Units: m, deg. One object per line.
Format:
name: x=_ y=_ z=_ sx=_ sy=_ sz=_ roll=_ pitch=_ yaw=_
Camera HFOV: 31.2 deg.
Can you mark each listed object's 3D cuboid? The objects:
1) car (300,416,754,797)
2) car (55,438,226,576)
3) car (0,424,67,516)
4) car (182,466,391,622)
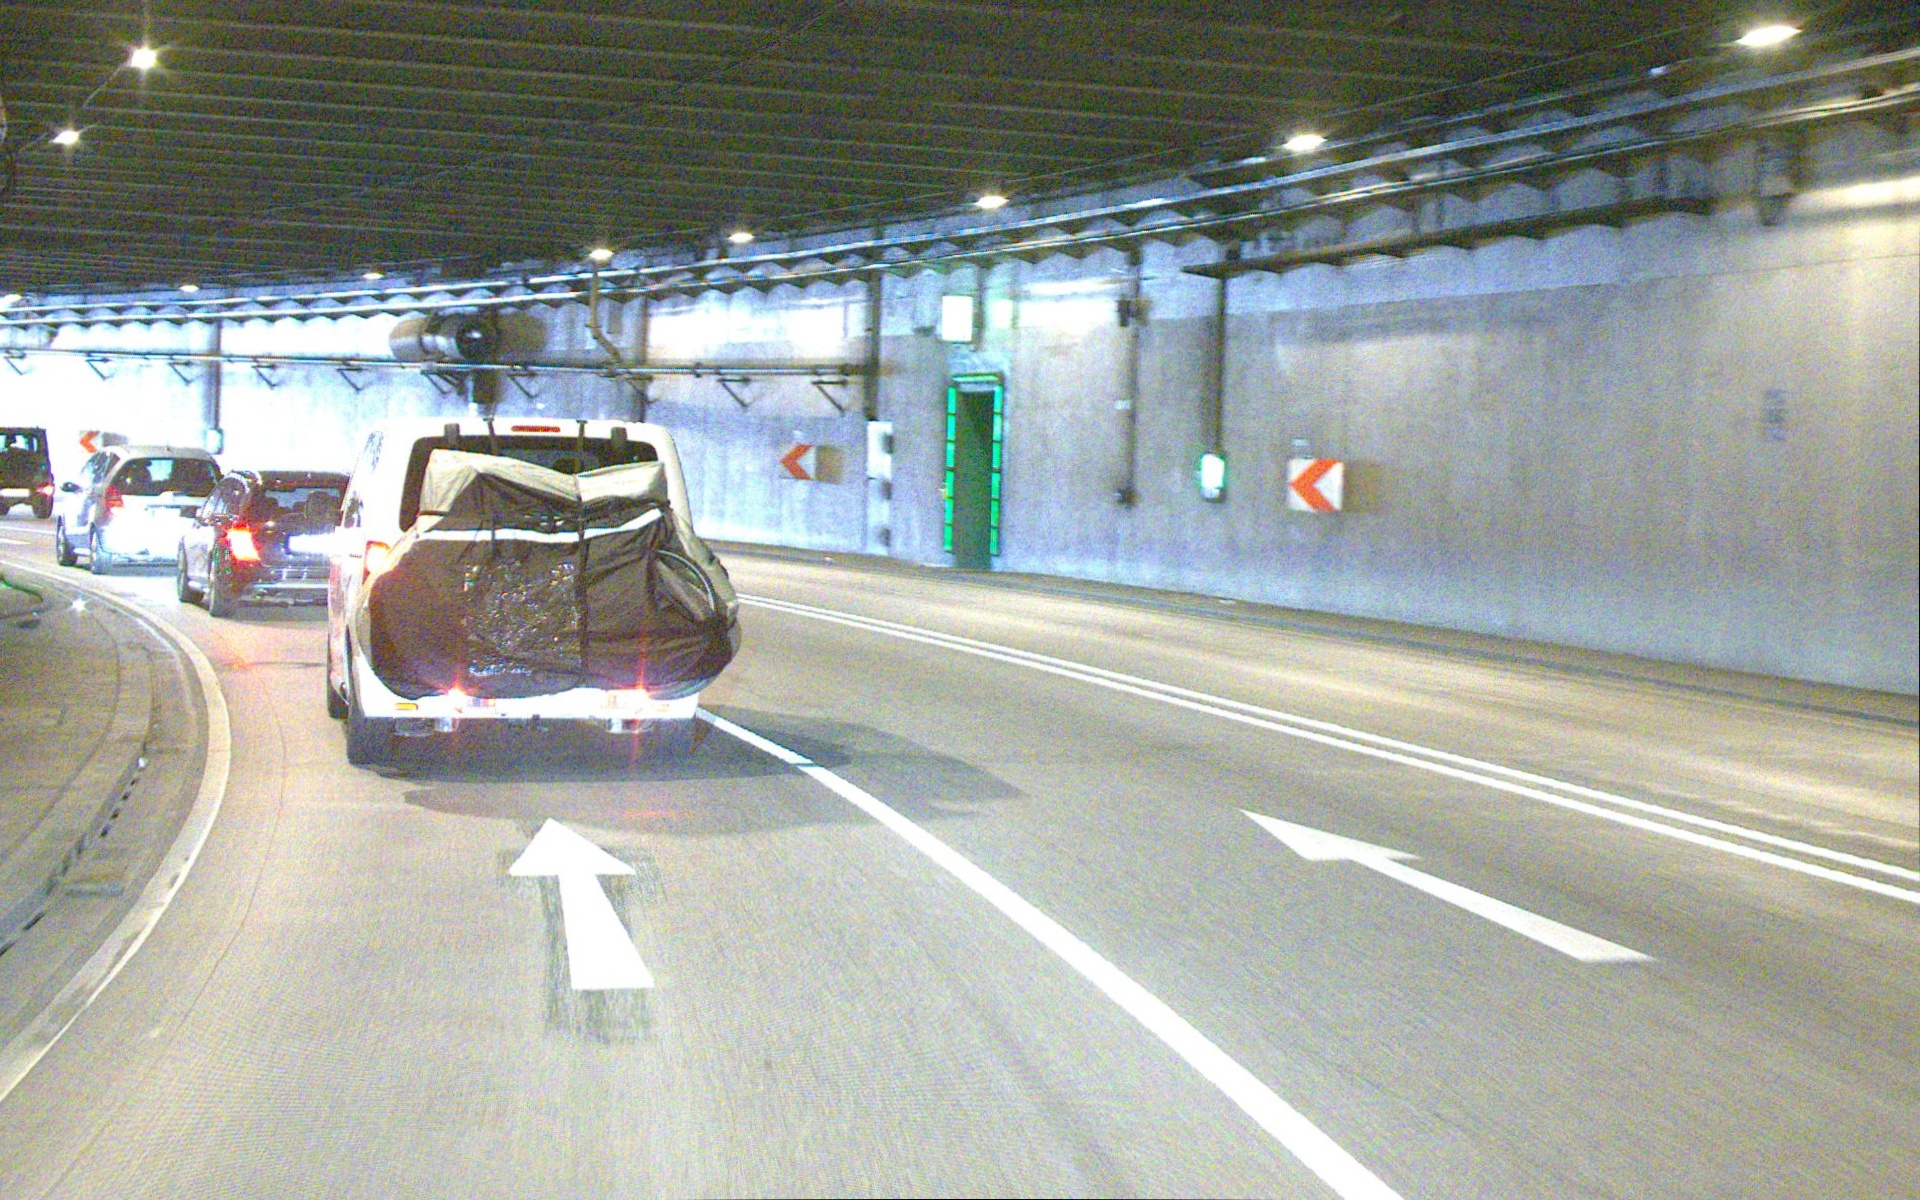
car: x=-2.600 y=-0.077 z=19.382 sx=1.993 sy=1.841 sz=5.303 roll=0 pitch=2 yaw=-13
car: x=-10.200 y=-1.156 z=42.661 sx=1.602 sy=1.588 sz=3.357 roll=2 pitch=1 yaw=-21
car: x=-17.555 y=-2.397 z=63.466 sx=1.602 sy=1.624 sz=3.357 roll=1 pitch=1 yaw=-22
car: x=-6.568 y=-0.577 z=33.327 sx=1.602 sy=1.390 sz=3.278 roll=0 pitch=3 yaw=-18
